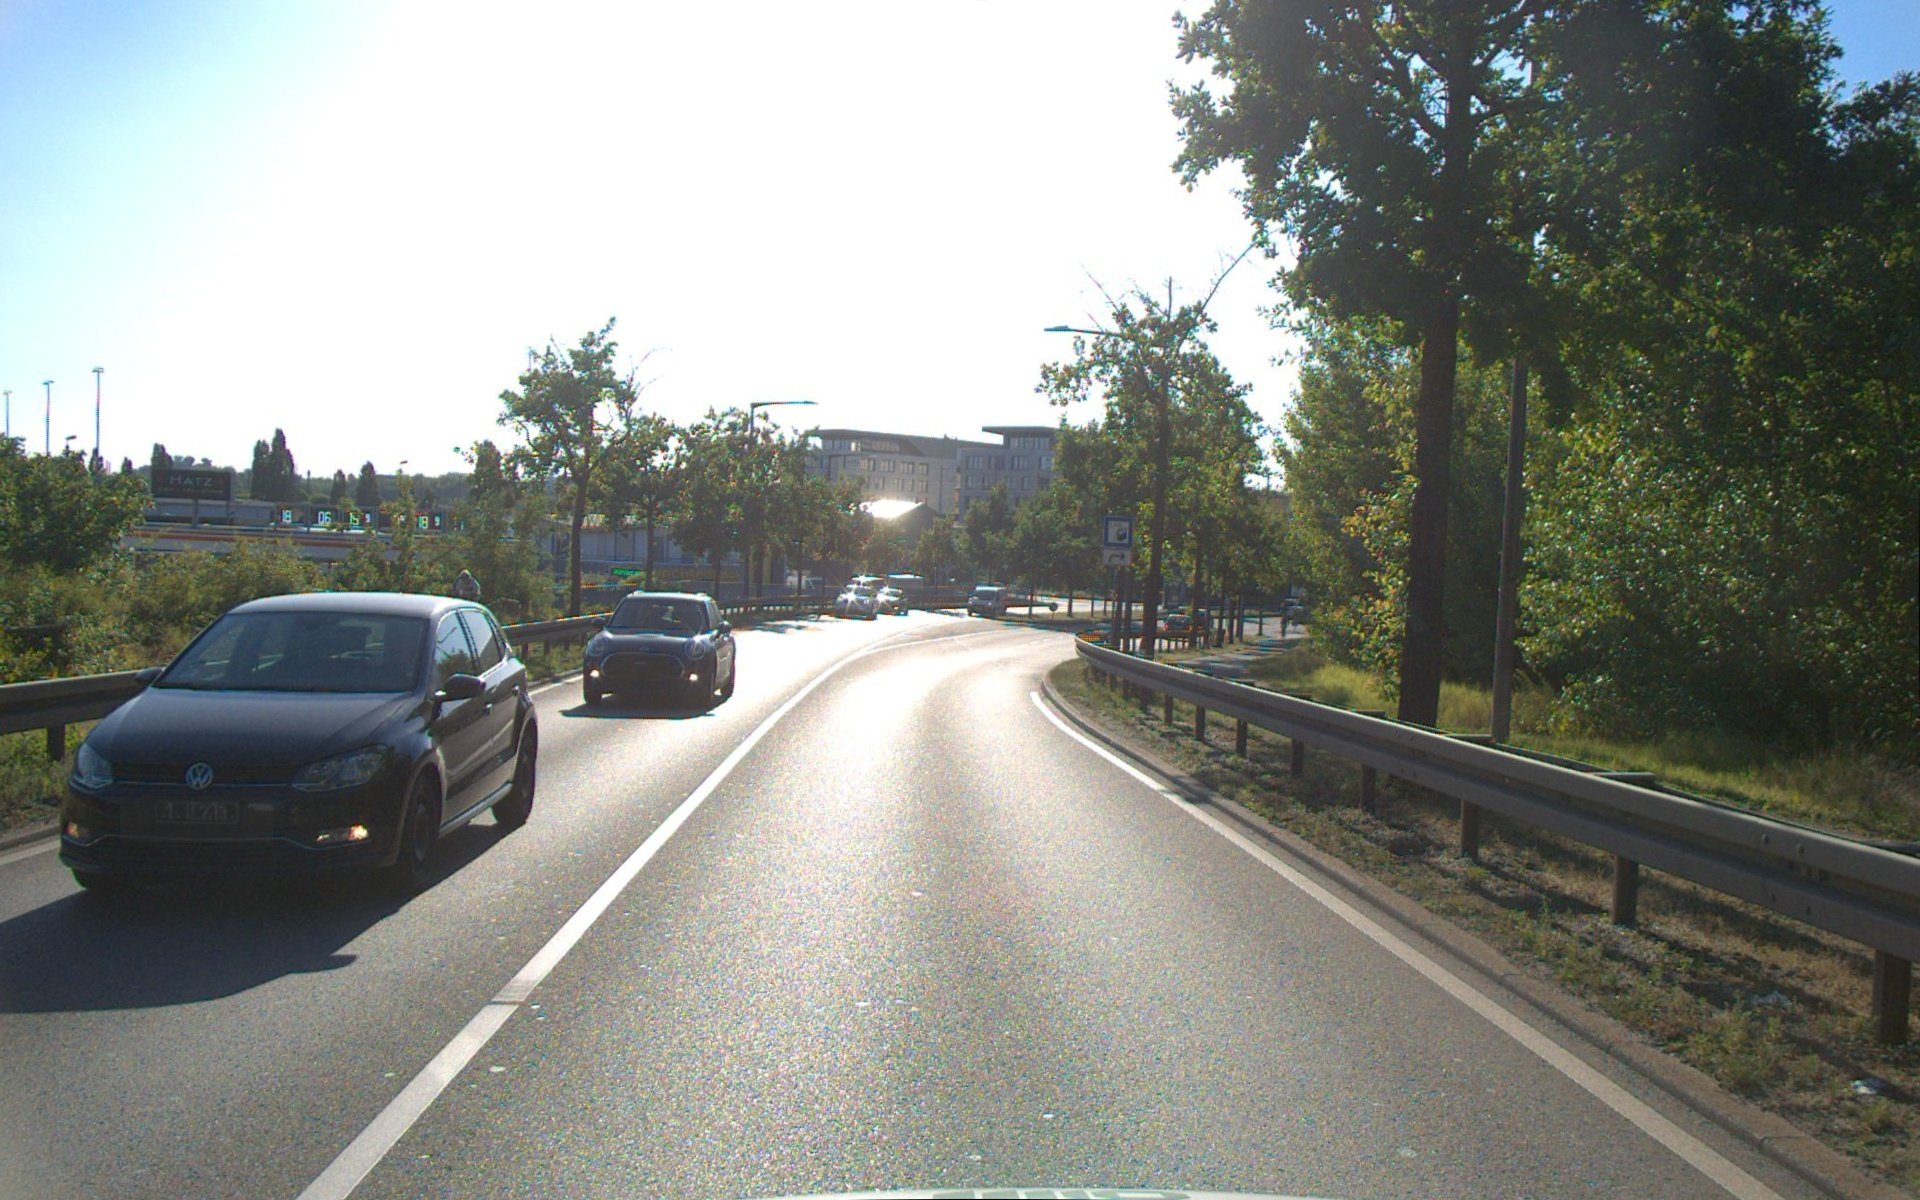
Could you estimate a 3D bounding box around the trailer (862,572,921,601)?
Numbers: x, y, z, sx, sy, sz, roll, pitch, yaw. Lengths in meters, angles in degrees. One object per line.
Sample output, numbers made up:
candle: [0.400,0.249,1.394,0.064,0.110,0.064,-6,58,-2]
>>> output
trailer: [-5.238,-1.035,128.198,2.369,2.003,6.609,4,1,17]

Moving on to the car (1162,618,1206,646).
car: [12.850,1.829,94.786,1.951,1.534,4.003,1,0,16]

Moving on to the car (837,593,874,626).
car: [-5.286,0.469,84.045,1.791,1.617,4.646,1,0,-2]

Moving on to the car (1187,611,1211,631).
car: [18.037,1.550,124.769,1.514,1.448,3.420,1,0,14]

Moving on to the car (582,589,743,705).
car: [-3.985,0.577,22.693,1.649,1.448,3.857,1,0,-2]

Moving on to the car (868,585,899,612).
car: [-4.579,-0.104,98.662,1.737,1.491,4.381,3,0,-3]

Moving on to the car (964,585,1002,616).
car: [1.628,-0.006,113.568,1.838,2.049,5.264,1,0,9]

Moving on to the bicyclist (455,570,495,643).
bicyclist: [-10.114,0.134,34.511,0.587,1.485,0.828,1,0,-1]

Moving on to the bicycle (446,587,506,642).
bicycle: [-10.110,0.302,34.601,0.570,1.096,2.312,1,0,-1]

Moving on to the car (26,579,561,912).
car: [-3.464,0.647,9.392,1.662,1.493,3.856,1,0,-4]
